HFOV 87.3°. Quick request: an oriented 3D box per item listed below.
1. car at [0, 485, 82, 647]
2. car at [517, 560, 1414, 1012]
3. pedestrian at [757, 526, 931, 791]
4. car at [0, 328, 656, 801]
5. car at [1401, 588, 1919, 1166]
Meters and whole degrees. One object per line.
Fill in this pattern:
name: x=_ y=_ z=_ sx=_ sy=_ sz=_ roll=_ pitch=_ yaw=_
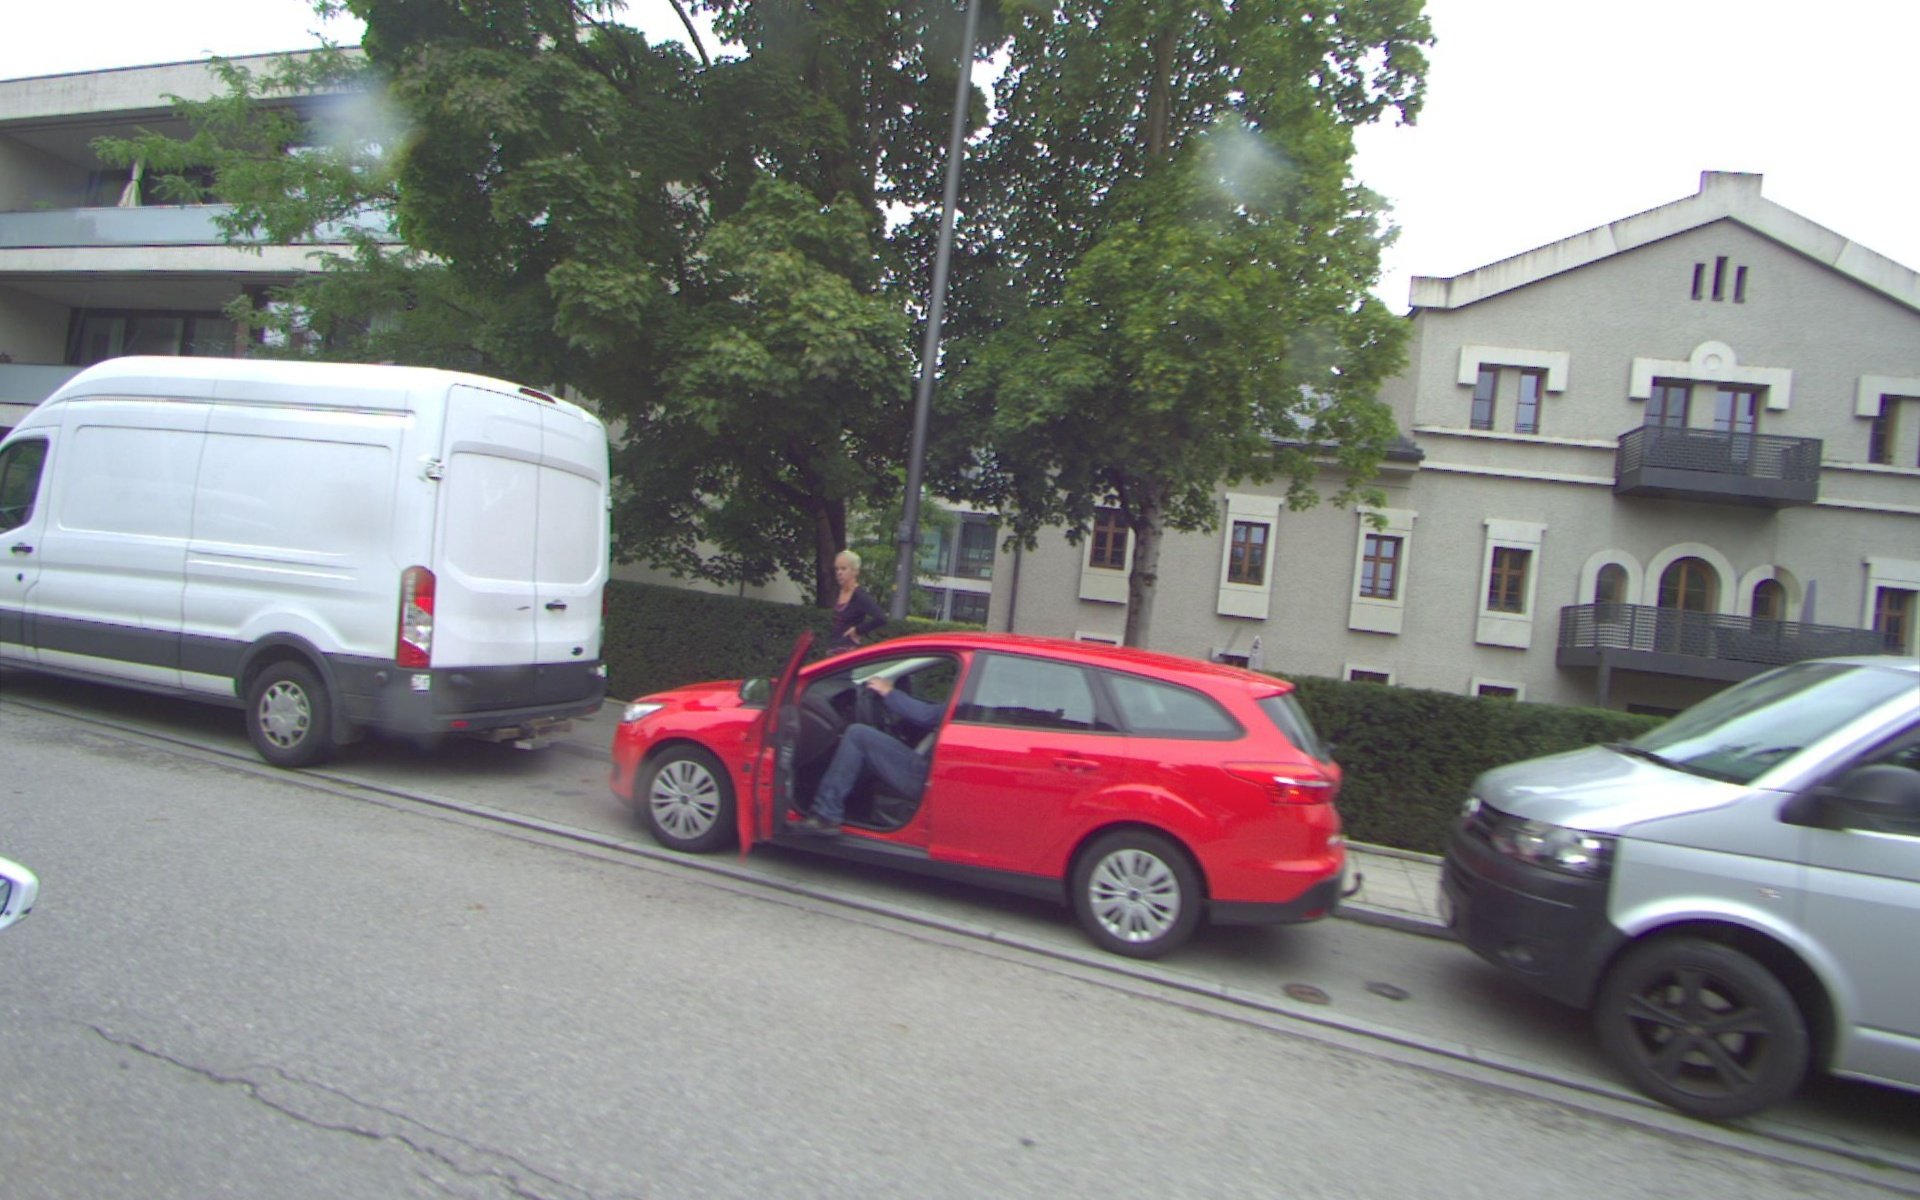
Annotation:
car: x=-11.900 y=-0.638 z=10.355 sx=4.907 sy=1.589 sz=1.877 roll=8 pitch=1 yaw=16
car: x=-0.023 y=0.839 z=6.128 sx=4.747 sy=1.526 sz=1.876 roll=7 pitch=1 yaw=18
pedestrian: x=-0.909 y=0.462 z=8.052 sx=0.849 sy=1.925 sz=0.798 roll=7 pitch=-2 yaw=26
car: x=-5.728 y=-0.448 z=8.002 sx=5.973 sy=2.720 sz=2.086 roll=7 pitch=1 yaw=18
car: x=4.743 y=1.241 z=4.233 sx=4.978 sy=1.929 sz=1.940 roll=7 pitch=1 yaw=20
